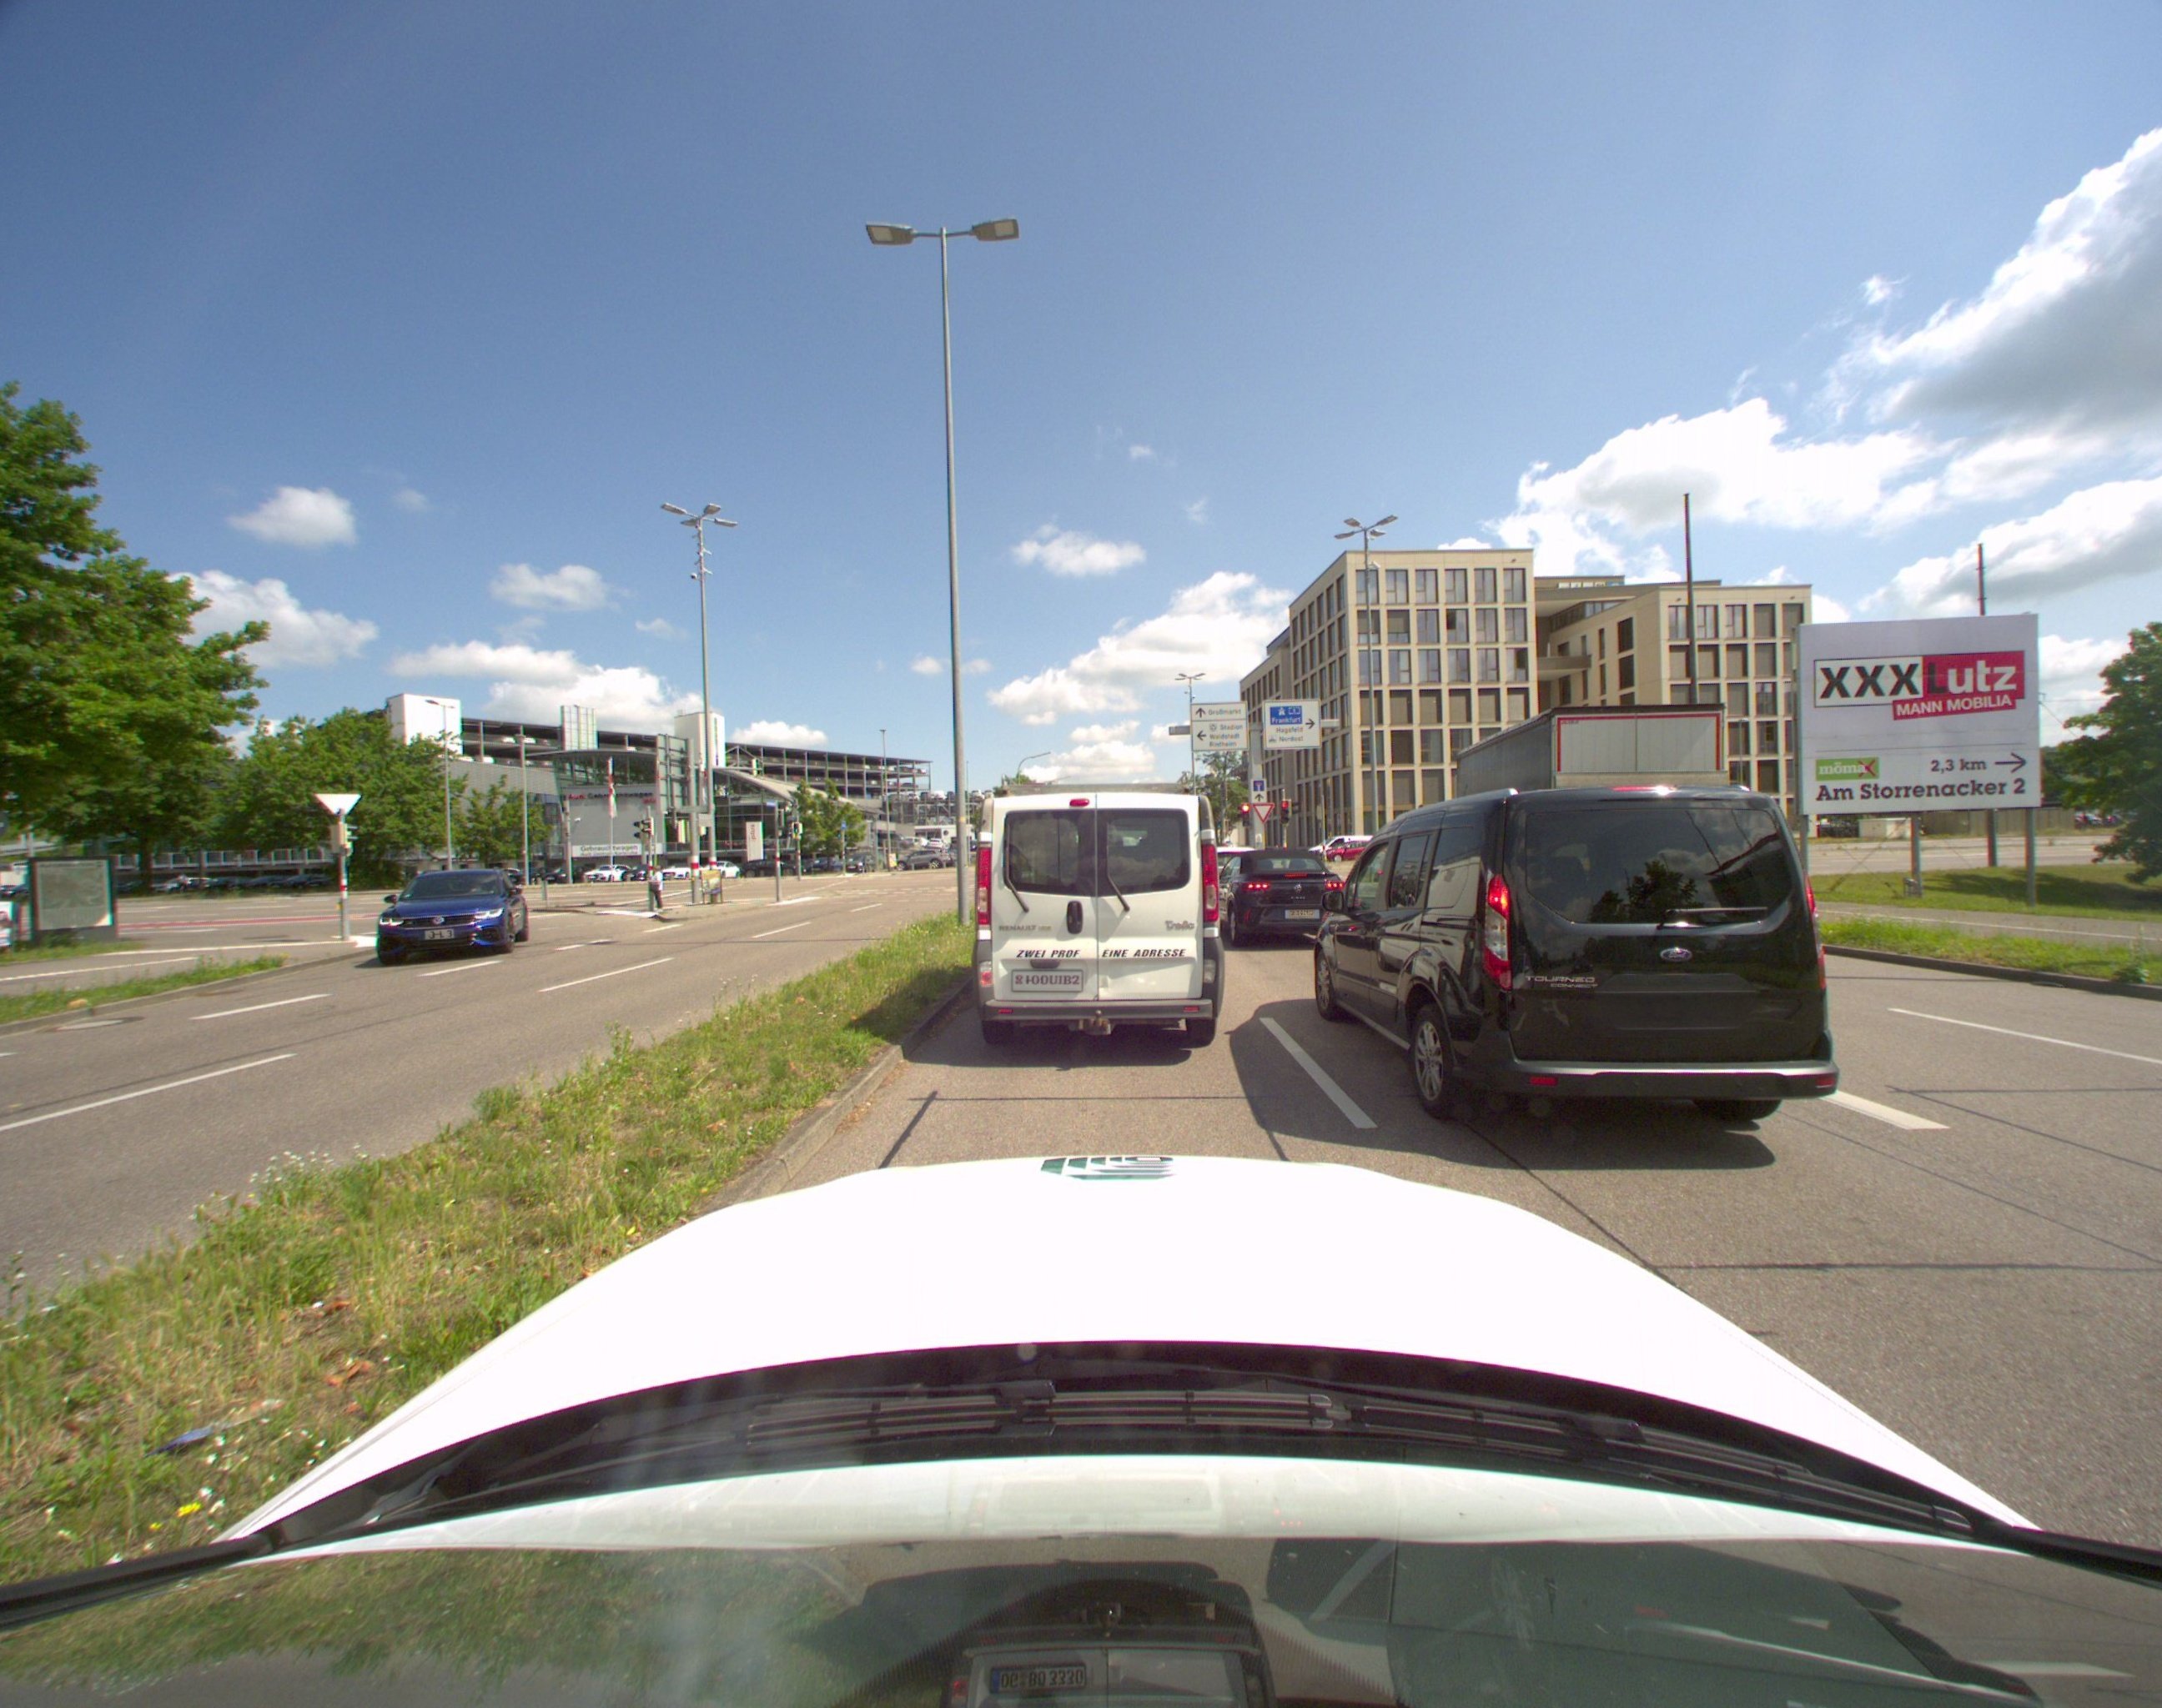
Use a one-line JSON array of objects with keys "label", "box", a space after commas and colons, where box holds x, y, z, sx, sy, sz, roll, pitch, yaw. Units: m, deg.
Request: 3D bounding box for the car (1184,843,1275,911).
[{"label": "car", "box": [3.669, 0.525, 20.762, 1.733, 1.543, 4.002, -1, 0, 2]}]

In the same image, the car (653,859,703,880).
[{"label": "car", "box": [-29.858, 1.147, 60.497, 1.902, 1.376, 3.749, -1, 1, -2]}]

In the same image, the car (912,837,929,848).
[{"label": "car", "box": [-23.568, -1.743, 119.493, 1.842, 1.530, 3.996, -1, 1, -3]}]

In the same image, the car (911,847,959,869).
[{"label": "car", "box": [-13.103, 0.380, 73.256, 3.903, 1.712, 1.687, -3, 1, -3]}]

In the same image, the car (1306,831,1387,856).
[{"label": "car", "box": [18.300, -0.733, 56.353, 4.968, 1.607, 1.999, -1, 1, -2]}]

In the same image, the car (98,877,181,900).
[{"label": "car", "box": [-64.929, 2.378, 56.221, 1.585, 1.390, 3.505, -1, 0, 2]}]

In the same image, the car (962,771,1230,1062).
[{"label": "car", "box": [0.227, 0.439, 7.680, 1.848, 2.018, 4.004, -1, 0, 4]}]

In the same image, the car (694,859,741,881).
[{"label": "car", "box": [-26.983, 1.166, 60.653, 1.771, 1.450, 4.026, -1, 1, -2]}]

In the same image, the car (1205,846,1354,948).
[{"label": "car", "box": [3.233, 0.639, 14.032, 1.733, 1.495, 4.002, -1, 0, 2]}]

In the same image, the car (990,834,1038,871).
[{"label": "car", "box": [-4.303, -0.151, 53.117, 1.960, 2.256, 4.993, -3, 1, 8]}]

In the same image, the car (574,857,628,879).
[{"label": "car", "box": [-35.291, 0.993, 59.980, 1.875, 1.486, 3.697, -1, 1, -3]}]

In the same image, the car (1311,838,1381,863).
[{"label": "car", "box": [17.008, -0.249, 52.384, 3.881, 1.490, 1.795, -1, 1, 0]}]

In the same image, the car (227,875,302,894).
[{"label": "car", "box": [-56.910, 2.113, 56.832, 1.585, 1.191, 3.505, -1, 0, 2]}]

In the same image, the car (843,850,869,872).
[{"label": "car", "box": [-16.899, 0.495, 61.269, 1.820, 1.552, 3.979, -1, 0, -15]}]

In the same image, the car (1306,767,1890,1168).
[{"label": "car", "box": [2.902, 0.500, 5.725, 1.811, 1.808, 4.005, 0, 0, 4]}]

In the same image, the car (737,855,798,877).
[{"label": "car", "box": [-23.200, 0.895, 60.345, 3.784, 1.513, 1.677, -1, 1, -4]}]

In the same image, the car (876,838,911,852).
[{"label": "car", "box": [-24.206, -1.162, 105.302, 4.157, 1.713, 1.686, -1, 0, -5]}]

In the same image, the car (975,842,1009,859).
[{"label": "car", "box": [-10.639, -0.441, 97.599, 3.980, 1.925, 1.823, -1, 0, -5]}]

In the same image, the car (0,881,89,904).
[{"label": "car", "box": [-70.989, 2.615, 55.807, 1.585, 1.390, 3.505, -1, 0, 2]}]

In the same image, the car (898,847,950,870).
[{"label": "car", "box": [-12.711, 0.380, 66.194, 3.852, 1.639, 1.856, -3, 1, -3]}]

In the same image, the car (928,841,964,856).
[{"label": "car", "box": [-16.069, -0.684, 96.984, 4.157, 1.712, 1.686, 0, 1, -5]}]

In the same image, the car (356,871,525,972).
[{"label": "car", "box": [-12.060, 1.155, 15.630, 2.007, 1.509, 3.960, -5, 1, -31]}]

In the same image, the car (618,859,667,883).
[{"label": "car", "box": [-32.386, 1.232, 60.294, 1.752, 1.660, 3.614, -1, 1, -3]}]

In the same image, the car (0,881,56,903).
[{"label": "car", "box": [-73.185, 2.603, 55.562, 1.691, 1.390, 3.732, -1, 0, 2]}]

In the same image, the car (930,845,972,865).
[{"label": "car", "box": [-13.108, 0.082, 82.193, 3.903, 1.712, 1.687, -3, 1, -3]}]

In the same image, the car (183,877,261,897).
[{"label": "car", "box": [-59.629, 2.298, 56.620, 1.585, 1.191, 3.505, -1, 0, 2]}]

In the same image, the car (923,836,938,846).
[{"label": "car", "box": [-25.480, -2.194, 138.082, 1.842, 1.530, 3.996, -1, 1, -3]}]

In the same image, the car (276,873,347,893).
[{"label": "car", "box": [-54.113, 2.012, 57.321, 1.585, 1.191, 3.505, -1, 0, 2]}]

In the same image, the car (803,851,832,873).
[{"label": "car", "box": [-19.622, 0.545, 60.776, 1.820, 1.552, 3.979, -1, 0, -15]}]

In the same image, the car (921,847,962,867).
[{"label": "car", "box": [-13.038, 0.270, 76.445, 3.499, 1.712, 1.602, -3, 1, -3]}]

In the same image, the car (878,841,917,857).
[{"label": "car", "box": [-21.537, -0.580, 95.578, 4.157, 1.713, 1.686, -1, 0, -5]}]

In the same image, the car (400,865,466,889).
[{"label": "car", "box": [-45.994, 1.620, 57.921, 1.833, 1.487, 3.697, -1, 1, -3]}]

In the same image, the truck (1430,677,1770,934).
[{"label": "truck", "box": [9.952, -0.822, 17.131, 3.109, 3.940, 8.888, -1, 1, 12]}]

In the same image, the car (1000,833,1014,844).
[{"label": "car", "box": [-10.730, -2.187, 118.509, 1.842, 1.530, 3.996, -1, 1, -3]}]

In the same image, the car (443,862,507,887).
[{"label": "car", "box": [-43.324, 1.426, 58.347, 1.810, 1.664, 3.790, -1, 0, -2]}]

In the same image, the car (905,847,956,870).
[{"label": "car", "box": [-12.682, 0.376, 68.589, 3.903, 1.712, 1.687, -3, 0, -3]}]

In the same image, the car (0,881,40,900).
[{"label": "car", "box": [-78.275, 2.713, 58.499, 1.791, 1.254, 4.002, -1, 1, 2]}]

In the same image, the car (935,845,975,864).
[{"label": "car", "box": [-13.118, 0.045, 84.976, 3.903, 1.712, 1.687, -3, 1, -3]}]

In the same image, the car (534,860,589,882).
[{"label": "car", "box": [-38.117, 1.234, 59.886, 1.723, 1.486, 3.698, -1, 1, -2]}]

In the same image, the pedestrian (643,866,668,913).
[{"label": "pedestrian", "box": [-13.977, 1.148, 26.744, 0.465, 1.512, 0.515, -1, 0, 26]}]
